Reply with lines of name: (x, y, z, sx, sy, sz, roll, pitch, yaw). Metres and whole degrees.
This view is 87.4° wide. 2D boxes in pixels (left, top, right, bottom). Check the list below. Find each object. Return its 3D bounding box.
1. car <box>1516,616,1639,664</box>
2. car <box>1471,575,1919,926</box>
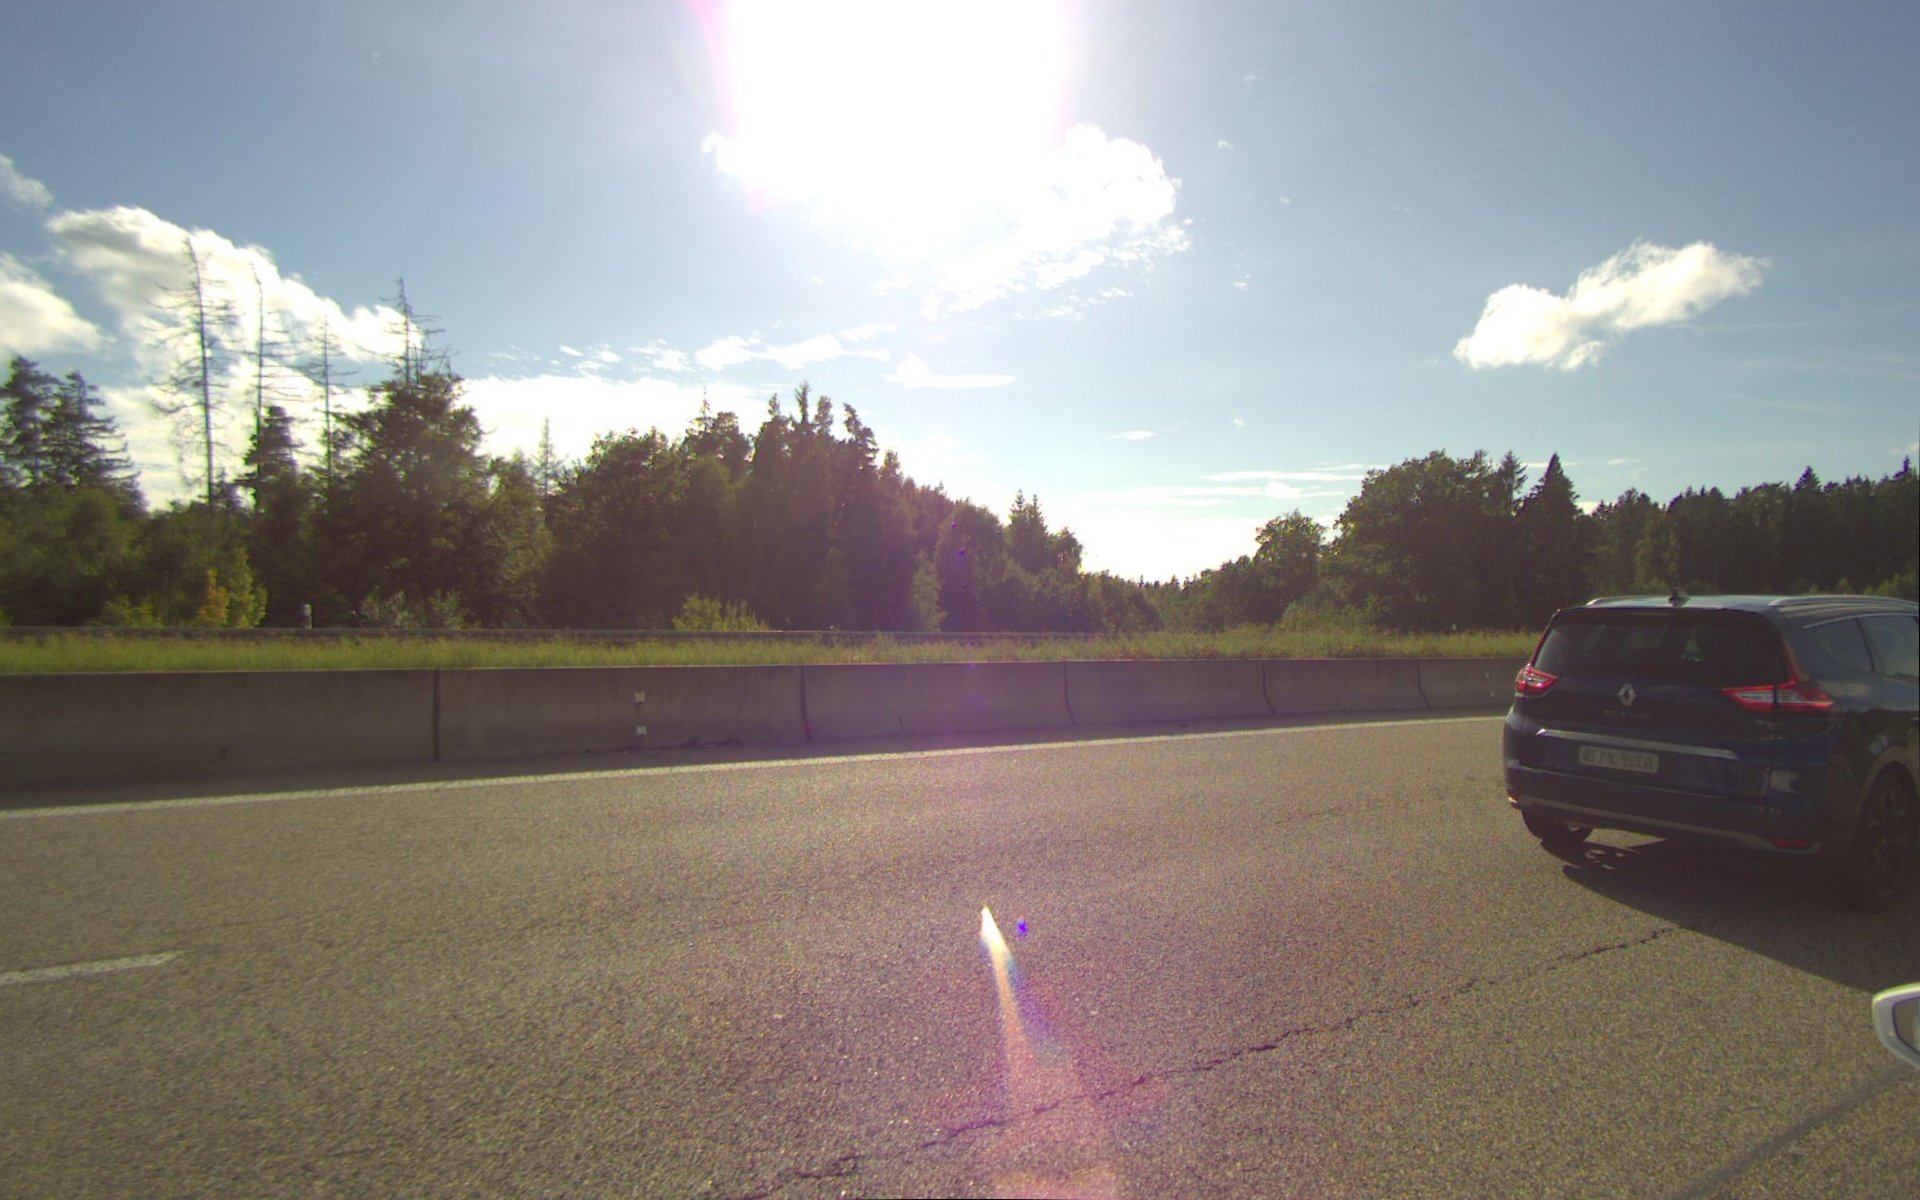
car: (20.668, 1.338, 33.609, 3.952, 1.476, 1.833, 2, 0, -30)
car: (5.821, 0.784, 6.948, 4.476, 1.729, 1.984, 1, 0, -31)
